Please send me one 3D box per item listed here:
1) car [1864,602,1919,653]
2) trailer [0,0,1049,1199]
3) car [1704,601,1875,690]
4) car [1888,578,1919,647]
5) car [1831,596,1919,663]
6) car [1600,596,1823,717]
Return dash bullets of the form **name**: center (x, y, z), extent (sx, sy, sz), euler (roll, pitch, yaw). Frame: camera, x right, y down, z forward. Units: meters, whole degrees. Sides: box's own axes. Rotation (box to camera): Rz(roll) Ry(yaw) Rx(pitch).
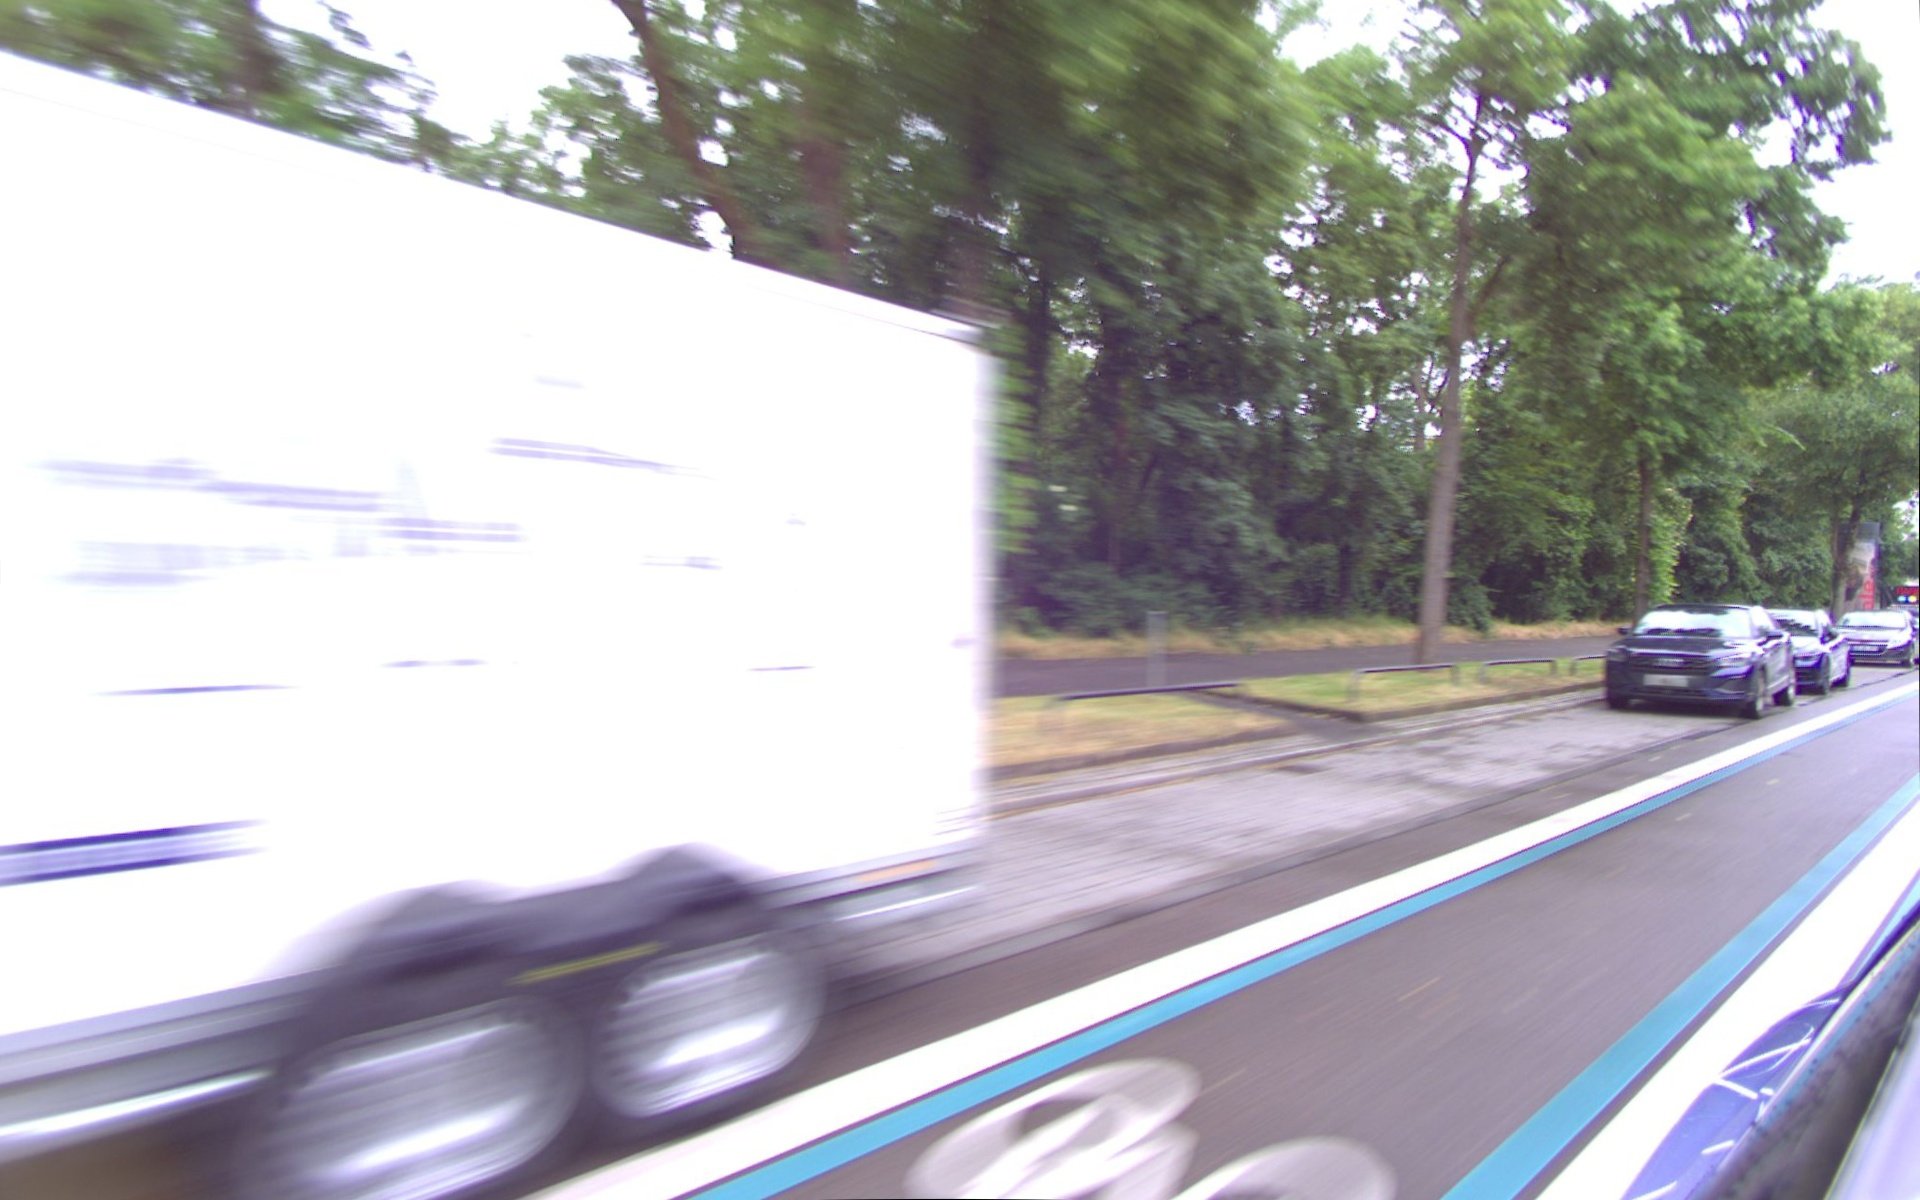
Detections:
- **car**: center (28.709, 0.802, 30.463), extent (3.931, 1.420, 1.803), euler (0, 1, -42)
- **trailer**: center (-1.770, 0.115, 3.164), extent (3.933, 2.597, 1.985), euler (0, 0, -44)
- **car**: center (15.123, 0.740, 18.394), extent (3.931, 1.395, 1.803), euler (0, 1, -42)
- **car**: center (33.152, 0.400, 34.372), extent (3.930, 2.273, 1.997), euler (0, 0, -41)
- **car**: center (24.420, 0.713, 26.610), extent (3.931, 1.618, 1.803), euler (0, 1, -42)
- **car**: center (10.889, 0.699, 14.572), extent (3.931, 1.482, 1.803), euler (0, 1, -42)
